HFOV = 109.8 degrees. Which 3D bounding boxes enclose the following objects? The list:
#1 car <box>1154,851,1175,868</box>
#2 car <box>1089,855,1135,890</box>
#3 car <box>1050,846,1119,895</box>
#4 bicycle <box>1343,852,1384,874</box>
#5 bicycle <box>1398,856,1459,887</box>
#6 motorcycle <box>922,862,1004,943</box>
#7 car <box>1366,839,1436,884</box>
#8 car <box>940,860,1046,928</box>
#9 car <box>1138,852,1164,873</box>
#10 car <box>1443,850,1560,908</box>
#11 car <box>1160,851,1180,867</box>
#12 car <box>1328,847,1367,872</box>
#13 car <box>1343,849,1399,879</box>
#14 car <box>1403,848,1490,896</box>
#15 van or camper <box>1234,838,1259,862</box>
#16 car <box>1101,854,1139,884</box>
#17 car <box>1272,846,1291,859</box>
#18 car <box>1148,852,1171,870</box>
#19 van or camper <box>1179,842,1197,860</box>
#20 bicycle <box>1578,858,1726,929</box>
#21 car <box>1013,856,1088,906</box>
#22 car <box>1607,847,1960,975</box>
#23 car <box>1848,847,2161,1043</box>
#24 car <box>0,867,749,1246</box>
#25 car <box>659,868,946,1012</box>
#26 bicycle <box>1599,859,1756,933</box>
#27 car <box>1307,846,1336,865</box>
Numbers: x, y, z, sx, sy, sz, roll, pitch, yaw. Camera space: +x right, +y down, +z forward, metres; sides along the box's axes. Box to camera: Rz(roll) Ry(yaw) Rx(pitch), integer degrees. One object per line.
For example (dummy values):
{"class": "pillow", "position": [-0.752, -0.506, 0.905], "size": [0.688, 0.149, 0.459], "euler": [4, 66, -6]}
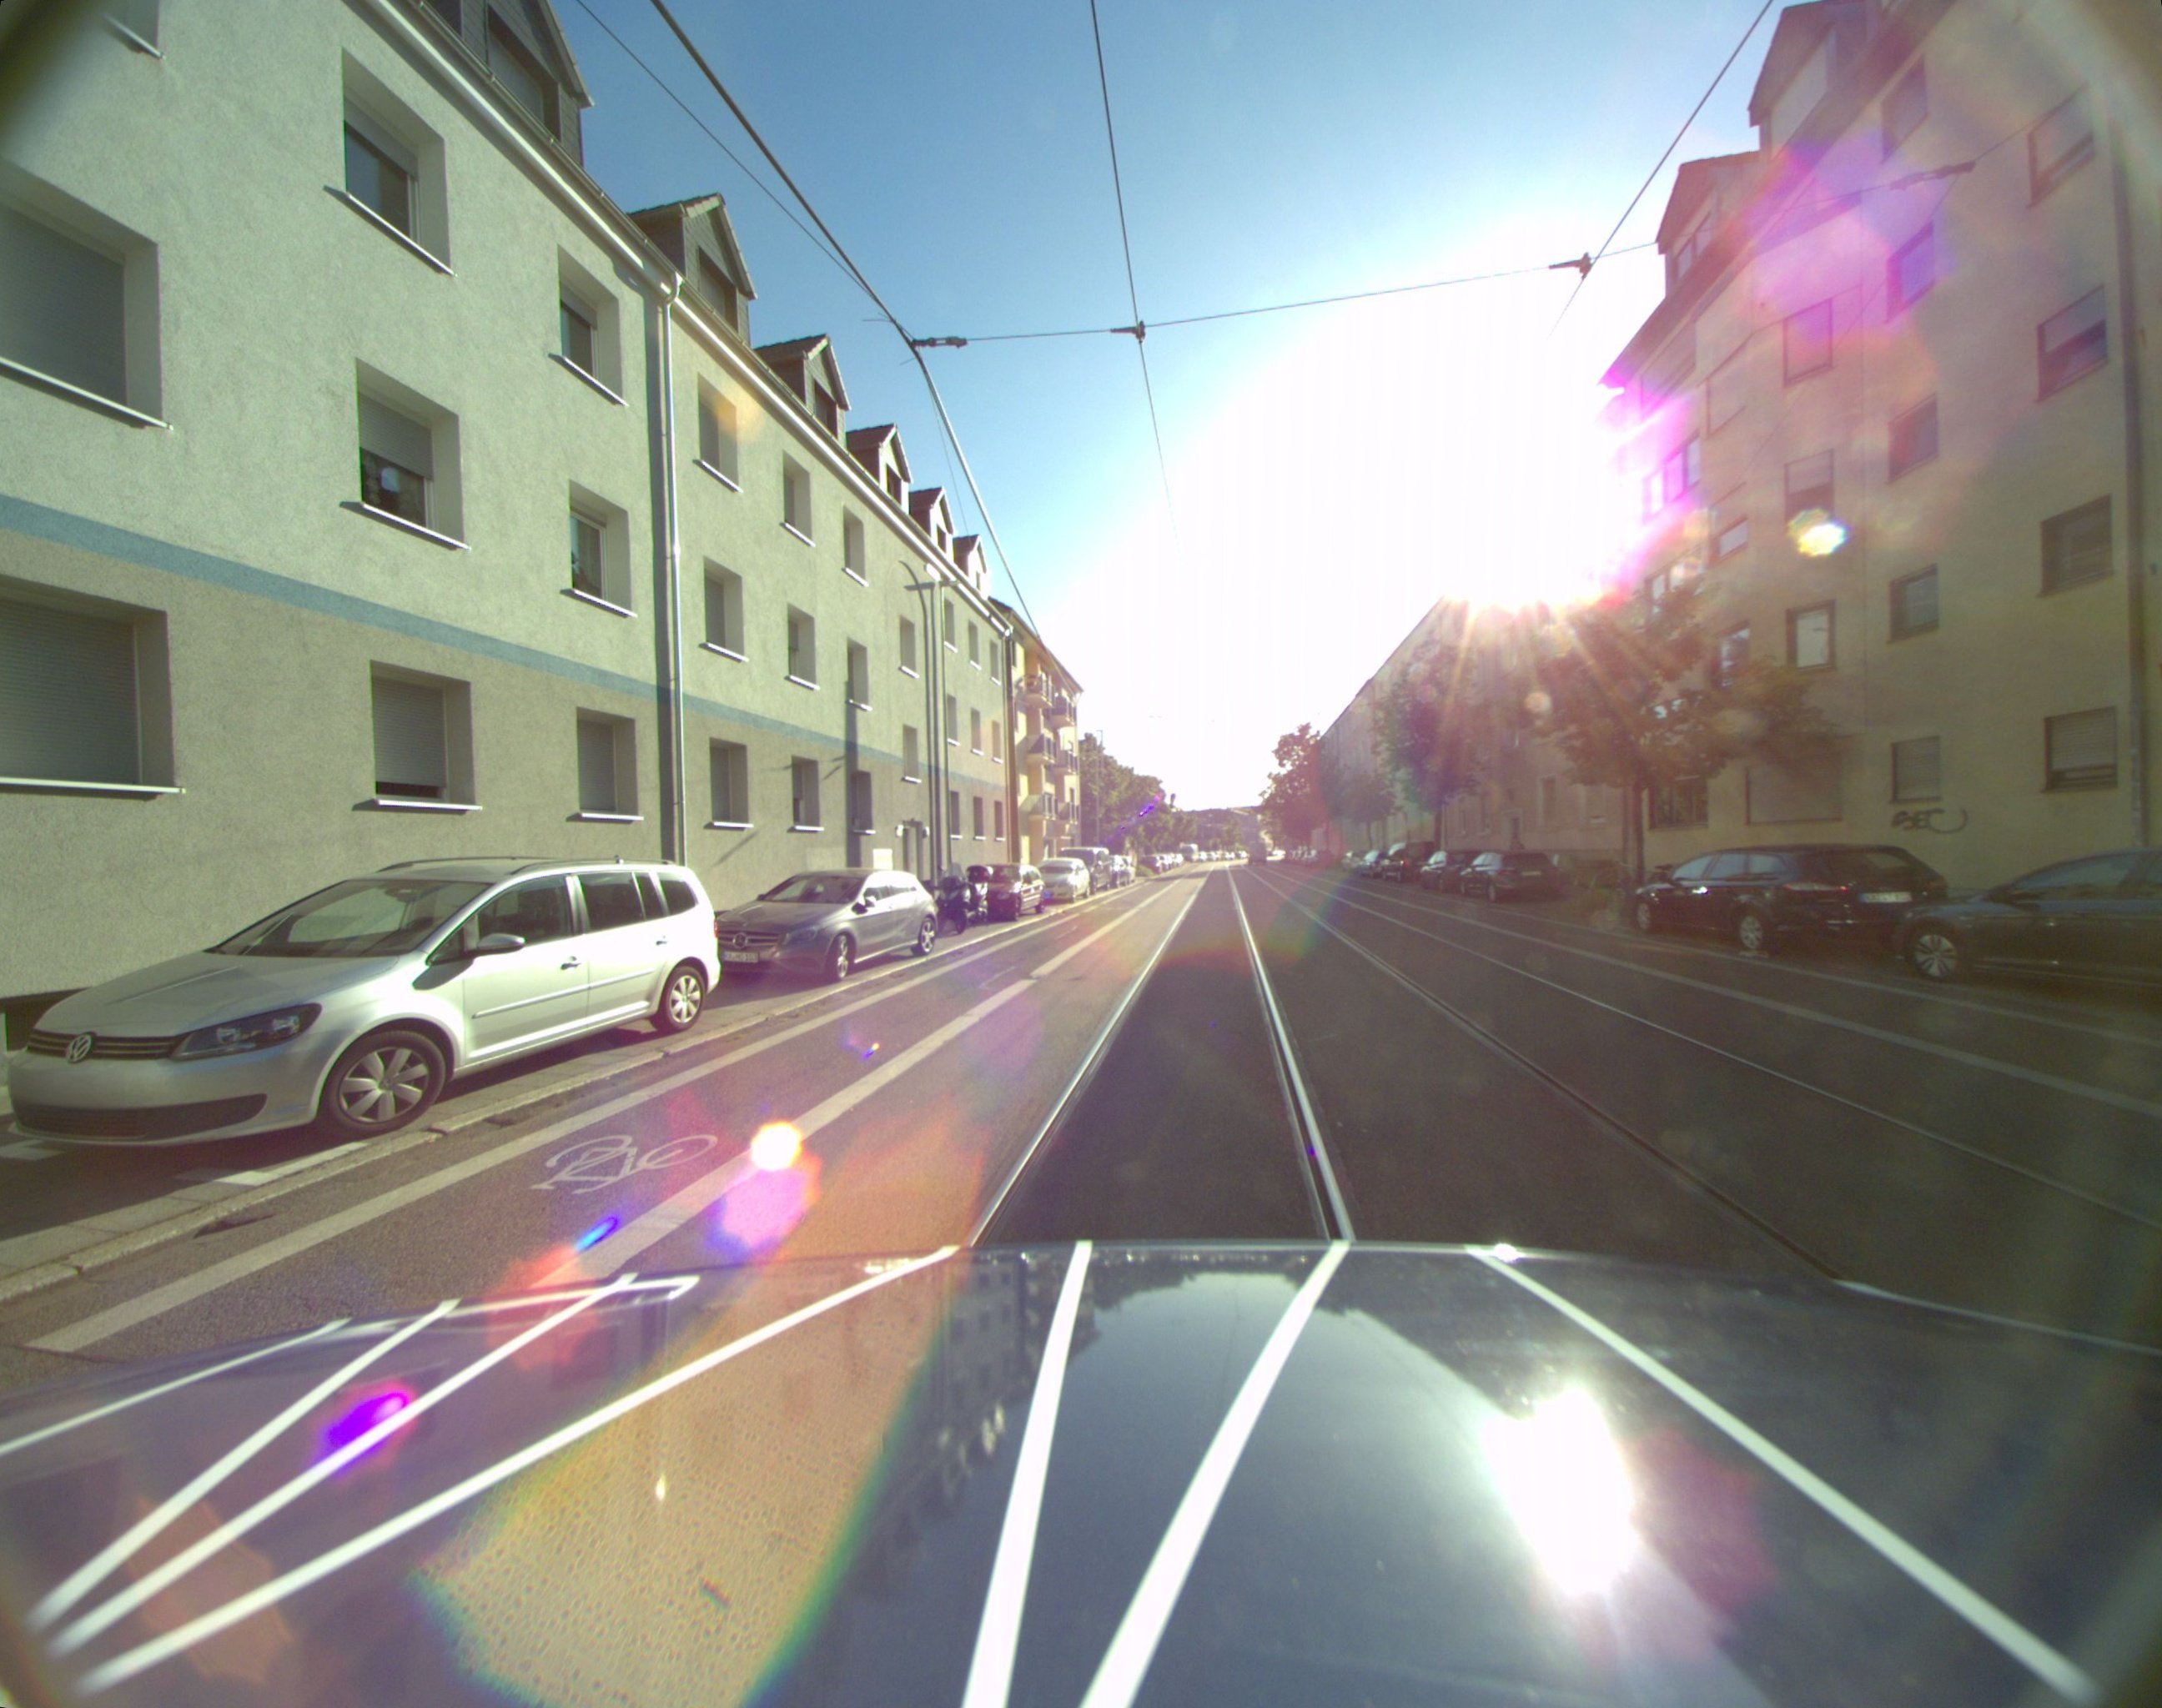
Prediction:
{"class": "car", "position": [8.255, 0.507, 74.940], "size": [1.827, 1.562, 4.481], "euler": [0, 1, 10]}
{"class": "car", "position": [1.545, 0.829, 36.974], "size": [1.611, 1.562, 4.222], "euler": [0, 1, 11]}
{"class": "car", "position": [0.262, 0.619, 32.085], "size": [1.932, 1.910, 5.008], "euler": [0, 1, 12]}
{"class": "bicycle", "position": [16.705, 0.536, 44.930], "size": [2.148, 1.136, 0.660], "euler": [-3, 1, 7]}
{"class": "bicycle", "position": [14.257, 0.730, 31.205], "size": [2.115, 1.099, 0.747], "euler": [-4, 0, 9]}
{"class": "motorcycle", "position": [-2.490, 0.977, 16.488], "size": [0.806, 1.513, 2.710], "euler": [4, 1, 11]}
{"class": "car", "position": [14.650, 0.327, 35.031], "size": [1.768, 1.834, 4.426], "euler": [-4, 0, 8]}
{"class": "car", "position": [-2.213, 0.962, 20.179], "size": [1.611, 1.562, 3.907], "euler": [0, 1, 12]}
{"class": "car", "position": [5.554, 0.647, 59.963], "size": [1.611, 1.562, 4.482], "euler": [0, 1, 11]}
{"class": "car", "position": [12.417, 0.681, 22.714], "size": [1.768, 1.464, 4.044], "euler": [-4, 0, 10]}
{"class": "car", "position": [9.373, 0.490, 79.962], "size": [1.827, 1.562, 4.481], "euler": [0, 1, 10]}
{"class": "car", "position": [17.203, 0.334, 49.225], "size": [1.768, 1.464, 4.756], "euler": [-2, 0, 12]}
{"class": "car", "position": [15.263, 0.481, 40.208], "size": [1.768, 1.464, 4.861], "euler": [-2, 0, 9]}
{"class": "car", "position": [13.121, 0.591, 27.536], "size": [1.768, 1.464, 4.184], "euler": [-4, 0, 11]}
{"class": "van or camper", "position": [19.253, -0.462, 88.647], "size": [2.374, 2.538, 6.838], "euler": [-2, 0, 9]}
{"class": "car", "position": [2.155, 0.805, 41.486], "size": [1.556, 1.533, 3.635], "euler": [0, 1, 11]}
{"class": "car", "position": [25.031, -0.168, 94.874], "size": [1.687, 1.542, 3.953], "euler": [-2, 0, 7]}
{"class": "car", "position": [7.248, 0.607, 69.748], "size": [1.827, 1.562, 4.481], "euler": [0, 1, 10]}
{"class": "van or camper", "position": [15.550, -0.452, 109.952], "size": [2.089, 2.548, 5.698], "euler": [-2, 1, 13]}
{"class": "bicycle", "position": [11.426, 0.789, 15.270], "size": [2.296, 1.326, 0.700], "euler": [-2, 1, 11]}
{"class": "car", "position": [-0.971, 0.864, 26.458], "size": [1.803, 1.562, 3.907], "euler": [0, 1, 10]}
{"class": "car", "position": [10.143, 0.687, 11.598], "size": [1.768, 1.533, 4.737], "euler": [-2, 0, 12]}
{"class": "car", "position": [9.615, 0.725, 6.735], "size": [1.739, 1.533, 4.131], "euler": [-2, 0, 6]}
{"class": "car", "position": [-4.765, 0.996, 5.973], "size": [1.758, 1.656, 4.628], "euler": [0, 1, 8]}
{"class": "car", "position": [-3.722, 1.042, 11.156], "size": [1.866, 1.546, 4.370], "euler": [0, 1, 13]}
{"class": "bicycle", "position": [11.362, 0.799, 14.544], "size": [2.296, 1.326, 0.700], "euler": [-2, 1, 11]}
{"class": "car", "position": [21.192, 0.114, 67.142], "size": [1.687, 1.614, 4.050], "euler": [-2, 0, 7]}
